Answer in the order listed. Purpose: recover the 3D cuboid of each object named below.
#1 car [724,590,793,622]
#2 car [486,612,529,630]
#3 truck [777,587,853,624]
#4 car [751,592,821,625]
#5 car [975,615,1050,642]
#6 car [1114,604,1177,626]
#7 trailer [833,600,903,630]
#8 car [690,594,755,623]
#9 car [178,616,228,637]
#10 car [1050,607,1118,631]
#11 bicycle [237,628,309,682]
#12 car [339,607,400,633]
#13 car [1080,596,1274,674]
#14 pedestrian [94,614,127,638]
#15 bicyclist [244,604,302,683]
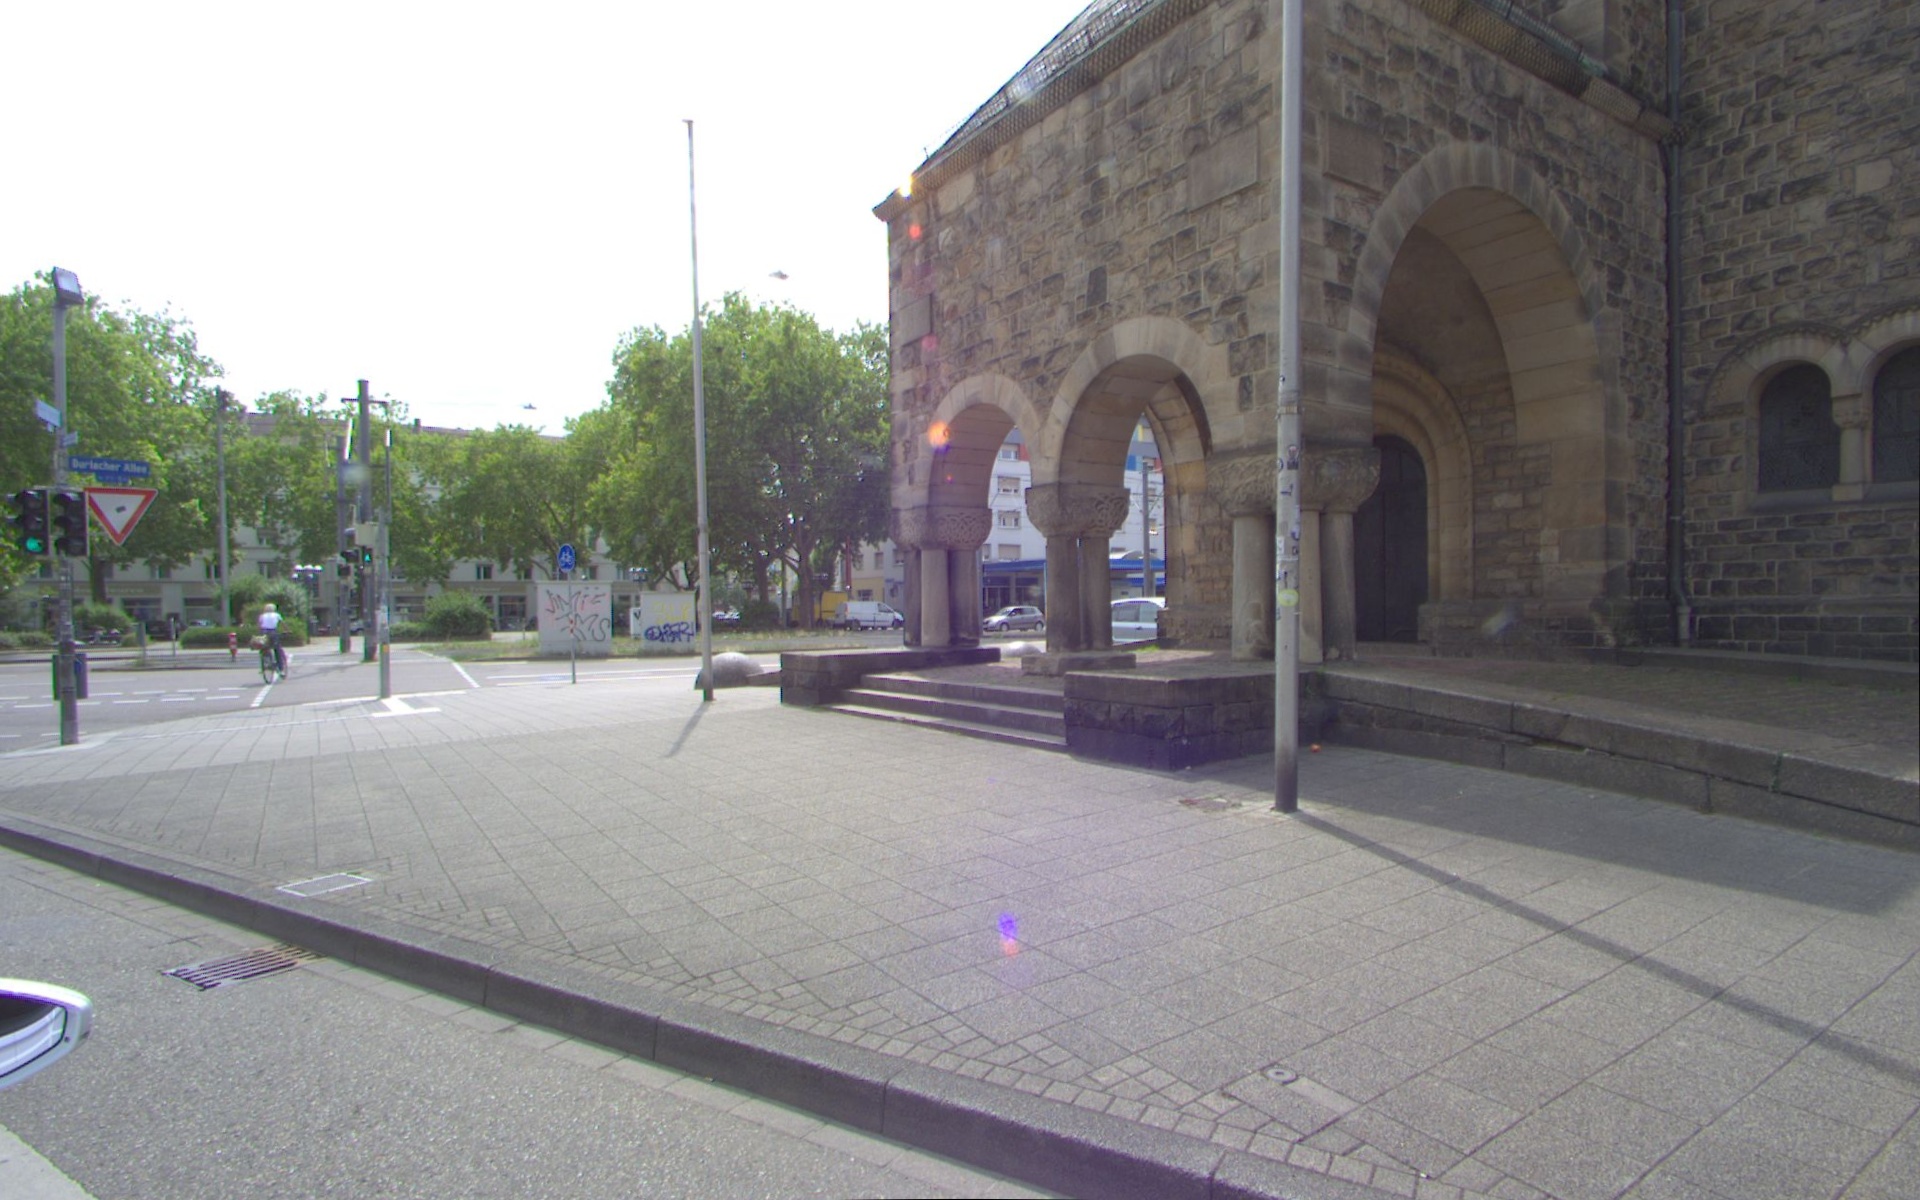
[{"bbox_3d":[-17.284,0.519,86.185,5.269,2.618,2.482,0,-1,-36],"label":"car"},{"bbox_3d":[-39.518,1.842,87.439,3.949,1.523,1.760,-1,0,37],"label":"car"},{"bbox_3d":[-10.731,0.408,73.598,3.040,2.612,6.468,-1,0,-34],"label":"truck"},{"bbox_3d":[-14.391,0.708,82.934,5.269,2.618,2.165,0,-1,-36],"label":"car"},{"bbox_3d":[2.984,1.609,56.639,3.942,1.418,1.617,0,-1,-30],"label":"car"},{"bbox_3d":[14.086,1.134,76.042,4.554,1.535,1.985,0,-1,-31],"label":"car"},{"bbox_3d":[-6.183,0.973,67.562,4.377,1.951,1.843,0,0,-33],"label":"trailer"},{"bbox_3d":[-21.984,0.810,92.681,5.269,2.618,2.482,0,-1,-36],"label":"car"},{"bbox_3d":[-56.951,1.961,75.338,3.949,1.523,1.986,-1,0,37],"label":"car"},{"bbox_3d":[7.898,1.200,63.538,4.020,1.433,1.751,0,-1,-30],"label":"car"},{"bbox_3d":[-15.075,1.172,22.037,0.891,1.089,1.964,0,0,-22],"label":"bicycle"},{"bbox_3d":[-45.256,1.524,76.790,3.946,1.908,1.846,-1,0,-34],"label":"car"},{"bbox_3d":[4.696,0.718,22.170,1.992,1.563,4.002,0,0,-33],"label":"car"},{"bbox_3d":[-48.026,1.469,56.585,1.422,1.252,1.087,-1,1,37],"label":"pedestrian"},{"bbox_3d":[-15.081,0.940,22.001,0.892,1.706,0.754,0,0,-23],"label":"bicyclist"}]
